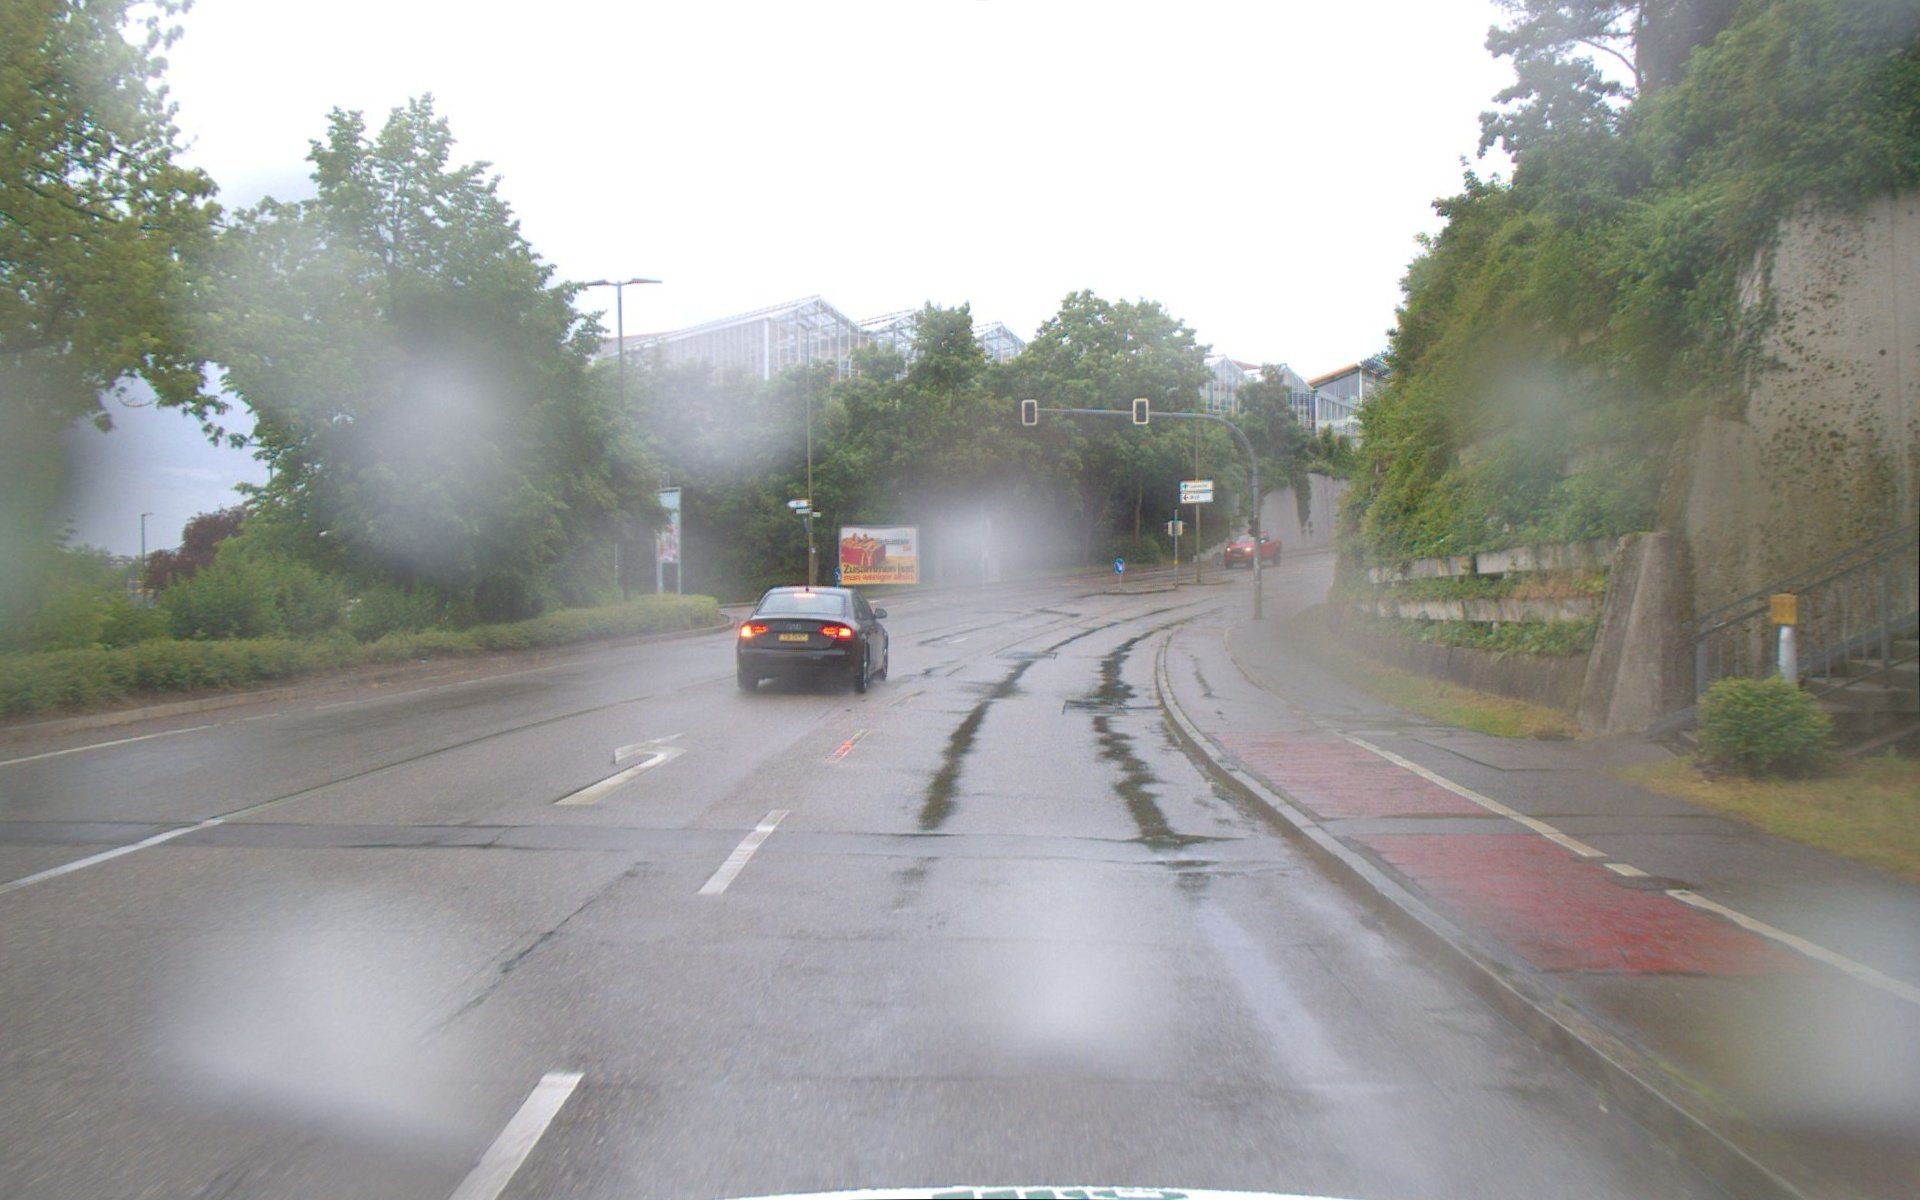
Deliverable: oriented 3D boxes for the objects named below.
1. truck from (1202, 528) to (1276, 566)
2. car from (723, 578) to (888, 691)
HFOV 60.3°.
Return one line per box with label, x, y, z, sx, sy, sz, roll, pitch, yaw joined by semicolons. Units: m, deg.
truck;15.689;-2.948;92.777;1.960;2.048;5.319;0;1;35
car;-2.085;0.419;23.389;1.718;1.420;4.002;0;1;4
